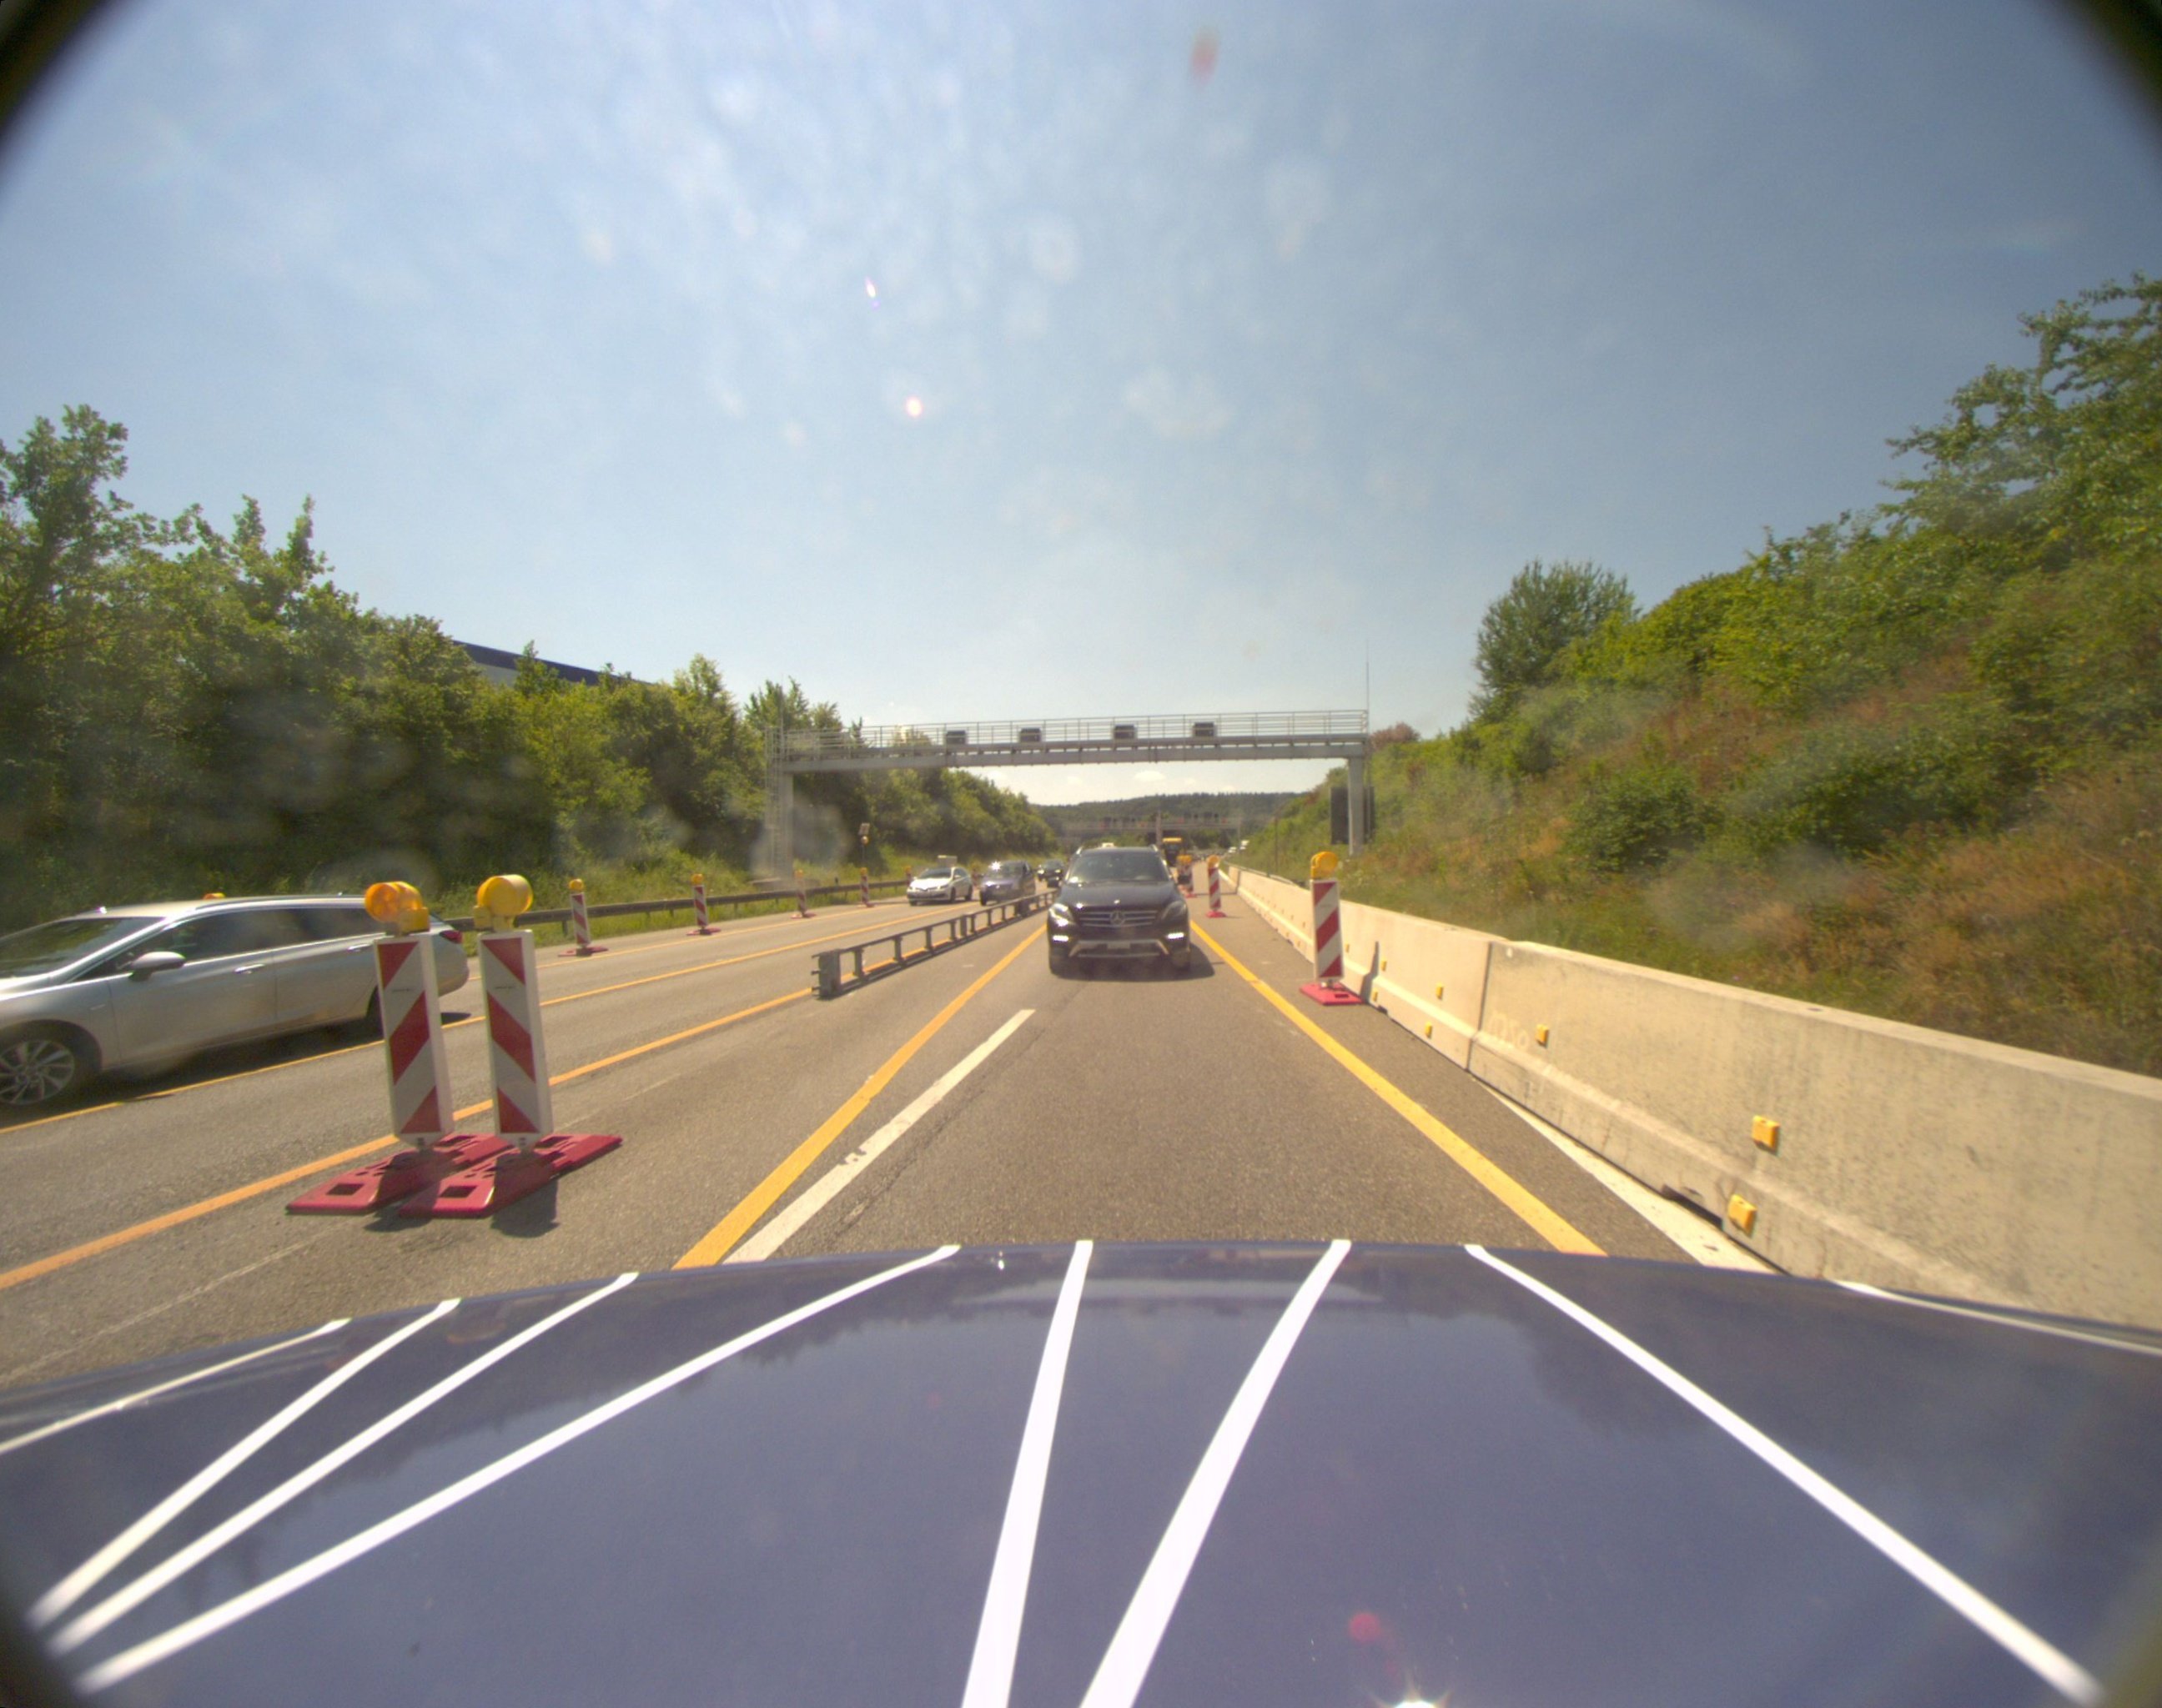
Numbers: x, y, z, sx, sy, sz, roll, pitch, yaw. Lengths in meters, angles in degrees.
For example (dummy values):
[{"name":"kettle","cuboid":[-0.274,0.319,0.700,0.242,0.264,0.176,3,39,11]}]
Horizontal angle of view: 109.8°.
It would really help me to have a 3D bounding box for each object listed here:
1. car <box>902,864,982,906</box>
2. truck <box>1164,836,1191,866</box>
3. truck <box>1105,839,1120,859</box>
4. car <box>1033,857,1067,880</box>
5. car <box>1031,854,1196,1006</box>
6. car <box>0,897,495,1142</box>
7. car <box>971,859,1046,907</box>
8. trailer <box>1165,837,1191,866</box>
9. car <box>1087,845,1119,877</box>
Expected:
[{"name":"car","cuboid":[-5.628,1.224,31.413,1.818,1.456,4.655,-2,0,8]},{"name":"truck","cuboid":[12.464,-0.371,97.745,3.227,3.639,7.088,-2,-1,8]},{"name":"truck","cuboid":[6.540,-1.082,156.869,2.532,3.927,5.602,-2,0,7]},{"name":"car","cuboid":[-2.382,1.125,60.195,2.023,1.653,5.239,-1,0,5]},{"name":"car","cuboid":[0.518,0.871,10.902,1.819,1.685,4.494,-2,0,4]},{"name":"car","cuboid":[-8.179,1.274,6.849,1.819,1.456,4.654,-2,0,6]},{"name":"car","cuboid":[-2.717,1.051,29.674,1.818,1.633,4.655,-2,0,8]},{"name":"trailer","cuboid":[13.724,-0.270,106.347,3.234,3.645,17.435,-2,-1,8]},{"name":"car","cuboid":[1.928,0.585,64.987,2.270,2.521,6.587,-1,0,5]}]
